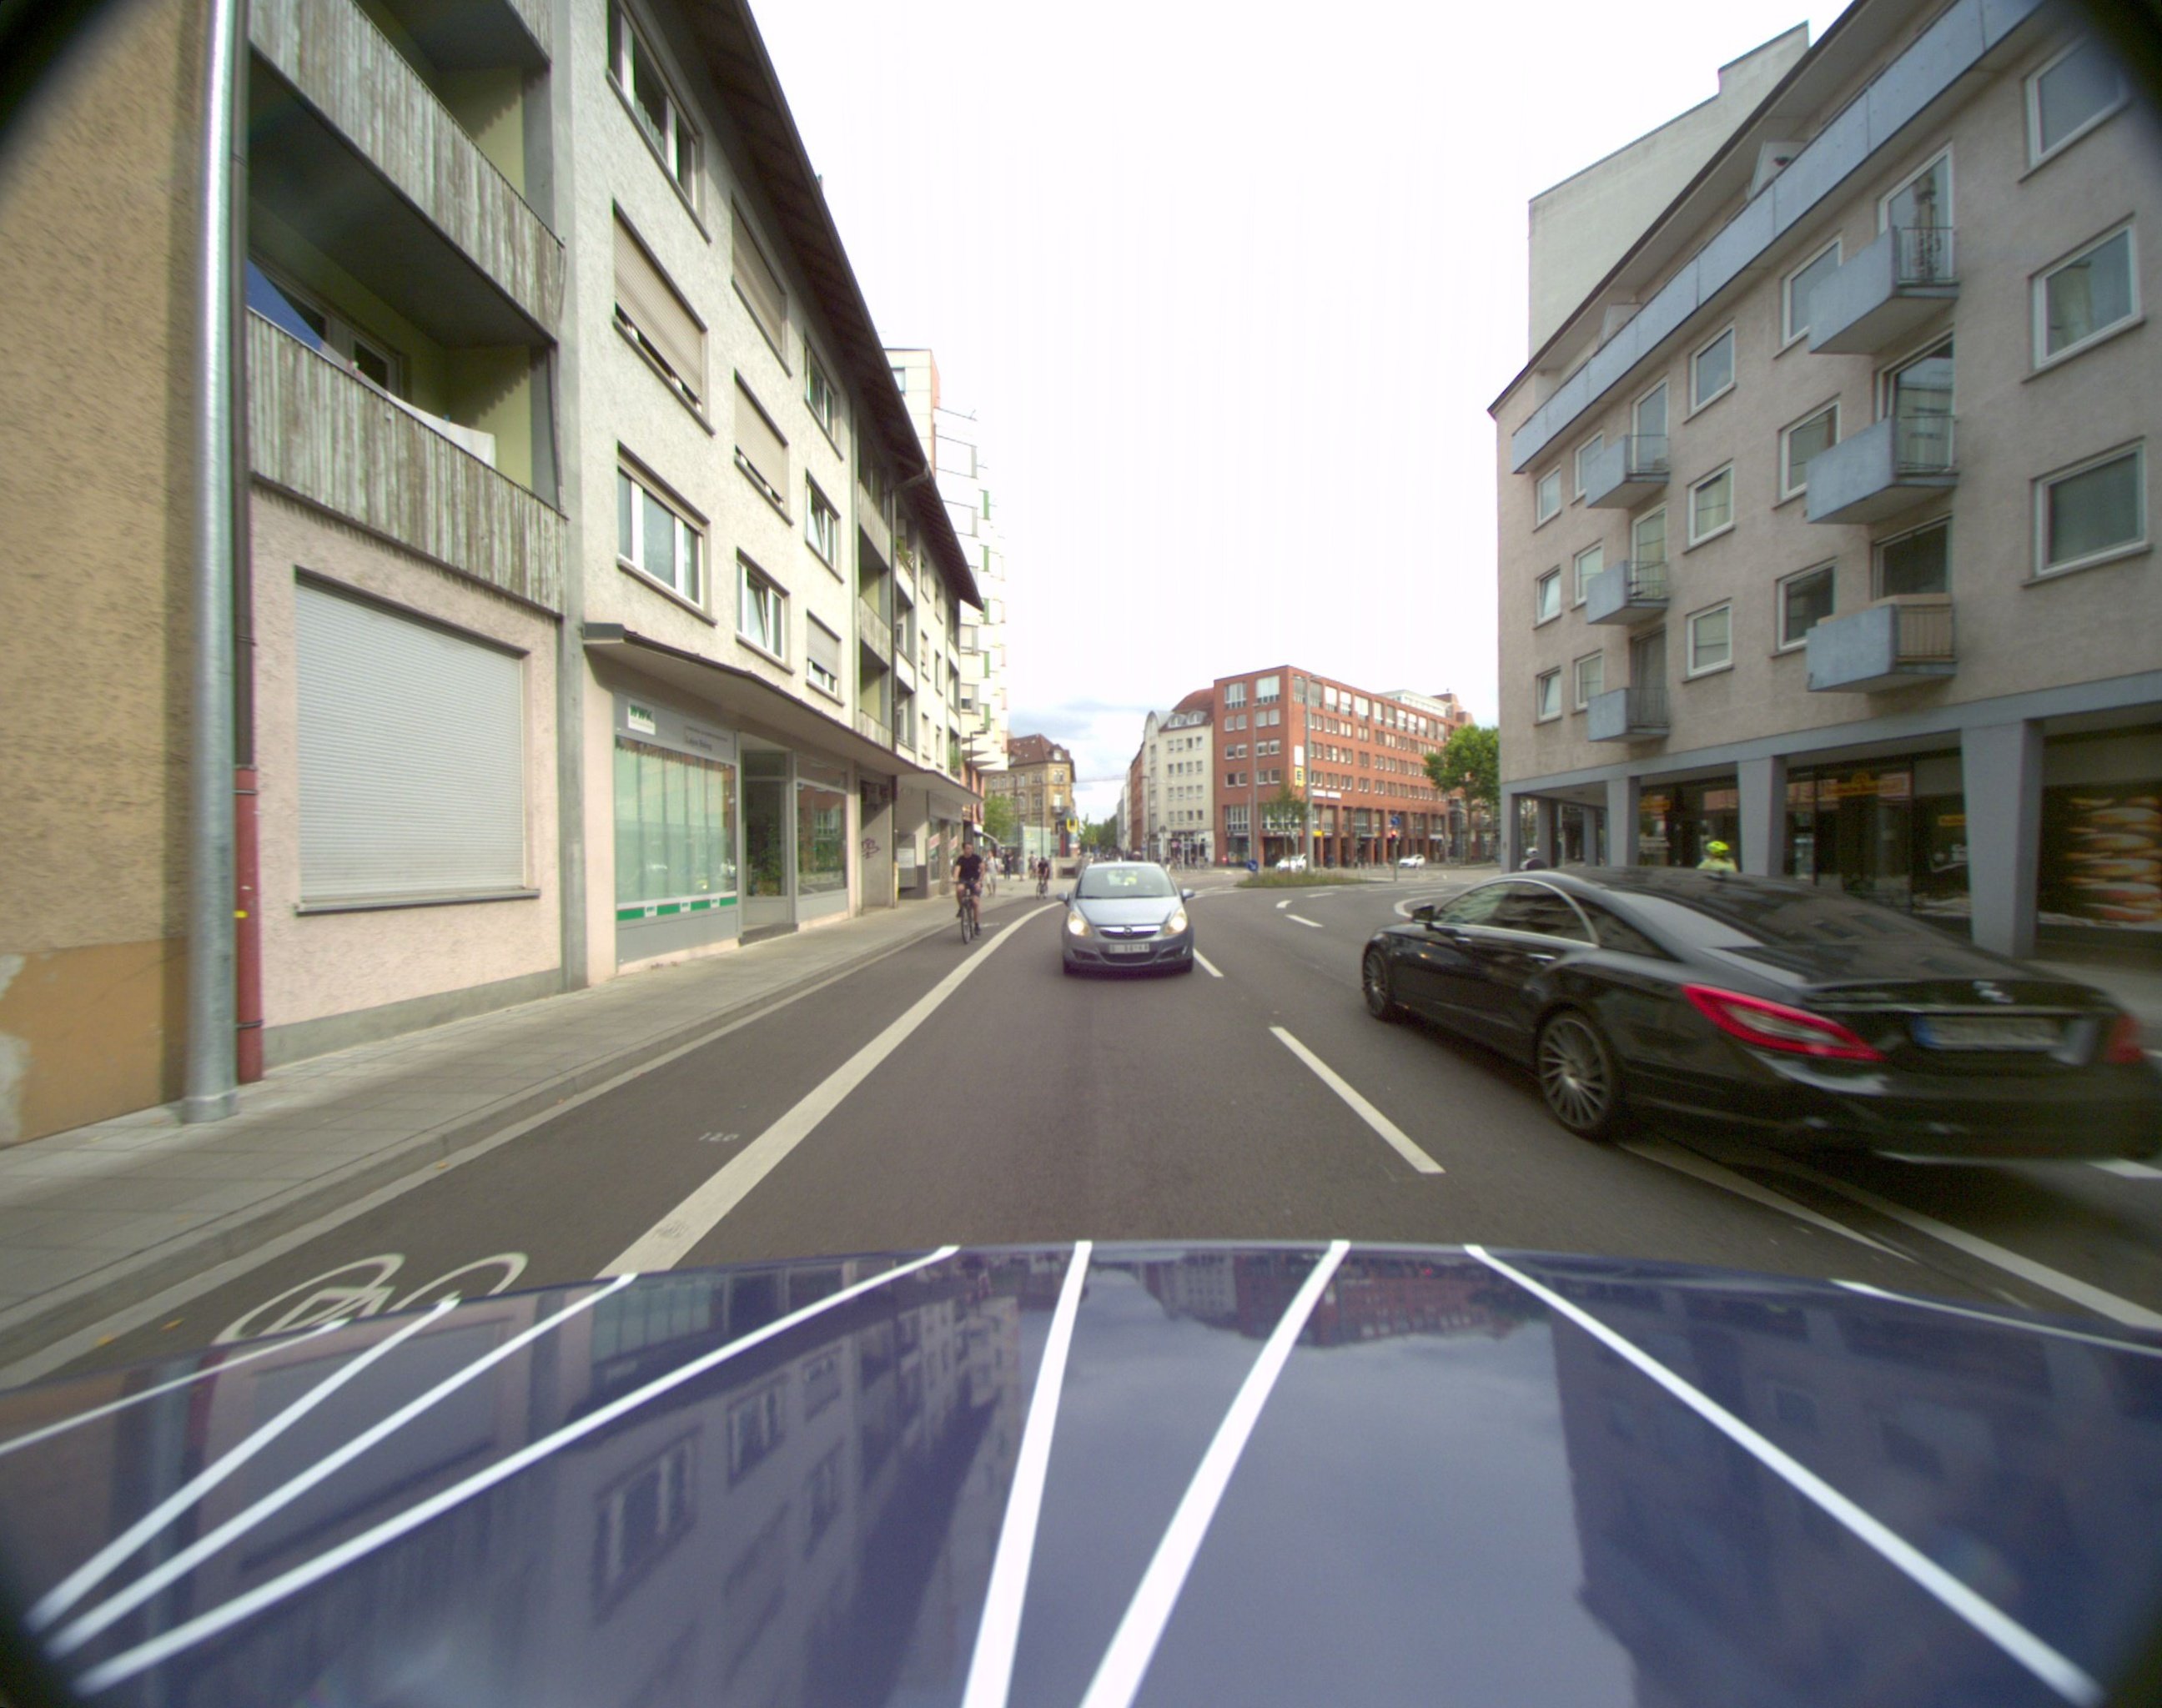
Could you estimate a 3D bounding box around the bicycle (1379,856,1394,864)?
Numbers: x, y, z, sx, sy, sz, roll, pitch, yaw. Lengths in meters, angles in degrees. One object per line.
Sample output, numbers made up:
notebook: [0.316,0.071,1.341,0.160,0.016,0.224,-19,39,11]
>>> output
bicycle: [41.010,0.820,101.954,0.509,1.034,1.855,-1,0,-44]

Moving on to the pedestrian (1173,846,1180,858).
pedestrian: [11.462,-0.243,91.177,0.593,1.502,0.629,-1,0,-7]

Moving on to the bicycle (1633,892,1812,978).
bicycle: [8.945,1.082,10.752,0.739,1.001,2.253,-2,-1,5]

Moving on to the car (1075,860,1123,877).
car: [1.744,1.426,75.172,2.004,1.503,4.590,-3,2,-44]

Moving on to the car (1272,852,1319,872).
car: [17.850,0.654,63.129,4.008,1.592,1.953,-1,1,-44]

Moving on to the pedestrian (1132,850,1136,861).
pedestrian: [7.917,0.203,113.181,0.540,1.712,0.520,0,1,10]

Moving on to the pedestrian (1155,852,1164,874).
pedestrian: [6.636,0.767,64.389,0.675,1.789,0.887,2,0,6]

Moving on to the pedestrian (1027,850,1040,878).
pedestrian: [-3.183,0.640,51.104,0.657,1.841,0.971,2,1,4]

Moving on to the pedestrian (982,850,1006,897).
pedestrian: [-3.265,0.734,28.565,0.753,1.740,0.859,0,1,0]

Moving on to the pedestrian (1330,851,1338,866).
pedestrian: [28.368,0.463,85.294,0.601,1.677,0.639,0,0,-45]

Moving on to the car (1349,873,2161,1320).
car: [3.445,0.897,4.928,1.815,1.399,4.608,-1,0,0]

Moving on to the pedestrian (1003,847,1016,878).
pedestrian: [-4.372,0.503,46.650,0.673,1.892,0.590,2,1,1]

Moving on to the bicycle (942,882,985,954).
bicycle: [-2.149,1.138,14.063,0.407,1.115,2.017,-2,1,1]

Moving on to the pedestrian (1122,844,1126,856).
pedestrian: [6.461,-0.553,113.197,0.591,1.712,0.520,-1,1,1]

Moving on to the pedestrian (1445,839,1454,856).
pedestrian: [39.934,-0.714,82.354,0.808,1.864,0.692,-1,1,-44]

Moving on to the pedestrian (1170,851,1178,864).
pedestrian: [11.299,0.407,92.326,0.707,1.638,0.721,-1,0,-7]

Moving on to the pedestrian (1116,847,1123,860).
pedestrian: [4.964,-0.073,97.523,0.606,1.675,0.732,-4,2,-21]

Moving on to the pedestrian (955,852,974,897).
pedestrian: [-4.387,0.754,28.655,0.606,1.659,0.944,0,1,-1]

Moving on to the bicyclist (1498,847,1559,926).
bicyclist: [8.991,0.631,15.308,0.658,1.516,1.002,-2,1,5]

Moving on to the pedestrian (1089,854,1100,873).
pedestrian: [1.177,0.824,67.902,0.633,1.685,0.708,0,0,45]

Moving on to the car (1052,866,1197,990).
car: [0.696,0.905,11.031,1.722,1.394,4.002,0,0,5]

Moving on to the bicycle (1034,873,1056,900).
bicycle: [-1.438,1.270,30.373,0.488,0.994,1.749,-2,0,10]

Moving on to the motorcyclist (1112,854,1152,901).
motorcyclist: [1.672,0.747,24.996,0.870,1.508,1.046,0,0,35]

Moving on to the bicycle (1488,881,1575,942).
bicycle: [8.965,1.122,15.204,0.739,1.001,1.909,-1,2,5]

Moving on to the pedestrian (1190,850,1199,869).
pedestrian: [11.023,0.556,73.843,0.567,1.813,0.697,0,0,45]

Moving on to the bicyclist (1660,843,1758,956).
bicyclist: [8.936,0.633,10.847,0.658,1.516,0.841,-2,-1,5]

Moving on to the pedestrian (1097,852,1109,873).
pedestrian: [1.970,0.788,68.295,0.879,1.843,0.639,0,0,-45]

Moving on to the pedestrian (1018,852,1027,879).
pedestrian: [-3.584,0.709,46.546,0.473,1.663,0.590,2,0,1]

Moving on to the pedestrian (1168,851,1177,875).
pedestrian: [7.722,0.775,64.061,0.720,1.960,1.015,2,0,8]

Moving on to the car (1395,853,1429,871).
car: [36.387,0.856,83.566,4.008,1.867,1.994,-1,1,-43]

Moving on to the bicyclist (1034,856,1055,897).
bicyclist: [-1.453,0.900,30.374,0.613,1.594,0.848,-2,-1,10]

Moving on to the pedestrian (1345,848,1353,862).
pedestrian: [32.011,0.149,90.642,0.645,1.686,0.699,2,3,43]

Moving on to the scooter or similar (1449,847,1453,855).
scooter or similar: [57.553,-0.417,118.072,0.923,1.250,0.272,-1,1,-44]

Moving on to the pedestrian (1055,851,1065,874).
pedestrian: [-1.758,0.715,63.636,0.547,1.856,0.586,0,0,41]

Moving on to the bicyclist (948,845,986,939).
bicyclist: [-2.118,0.682,14.200,0.560,1.699,0.862,-1,0,0]
